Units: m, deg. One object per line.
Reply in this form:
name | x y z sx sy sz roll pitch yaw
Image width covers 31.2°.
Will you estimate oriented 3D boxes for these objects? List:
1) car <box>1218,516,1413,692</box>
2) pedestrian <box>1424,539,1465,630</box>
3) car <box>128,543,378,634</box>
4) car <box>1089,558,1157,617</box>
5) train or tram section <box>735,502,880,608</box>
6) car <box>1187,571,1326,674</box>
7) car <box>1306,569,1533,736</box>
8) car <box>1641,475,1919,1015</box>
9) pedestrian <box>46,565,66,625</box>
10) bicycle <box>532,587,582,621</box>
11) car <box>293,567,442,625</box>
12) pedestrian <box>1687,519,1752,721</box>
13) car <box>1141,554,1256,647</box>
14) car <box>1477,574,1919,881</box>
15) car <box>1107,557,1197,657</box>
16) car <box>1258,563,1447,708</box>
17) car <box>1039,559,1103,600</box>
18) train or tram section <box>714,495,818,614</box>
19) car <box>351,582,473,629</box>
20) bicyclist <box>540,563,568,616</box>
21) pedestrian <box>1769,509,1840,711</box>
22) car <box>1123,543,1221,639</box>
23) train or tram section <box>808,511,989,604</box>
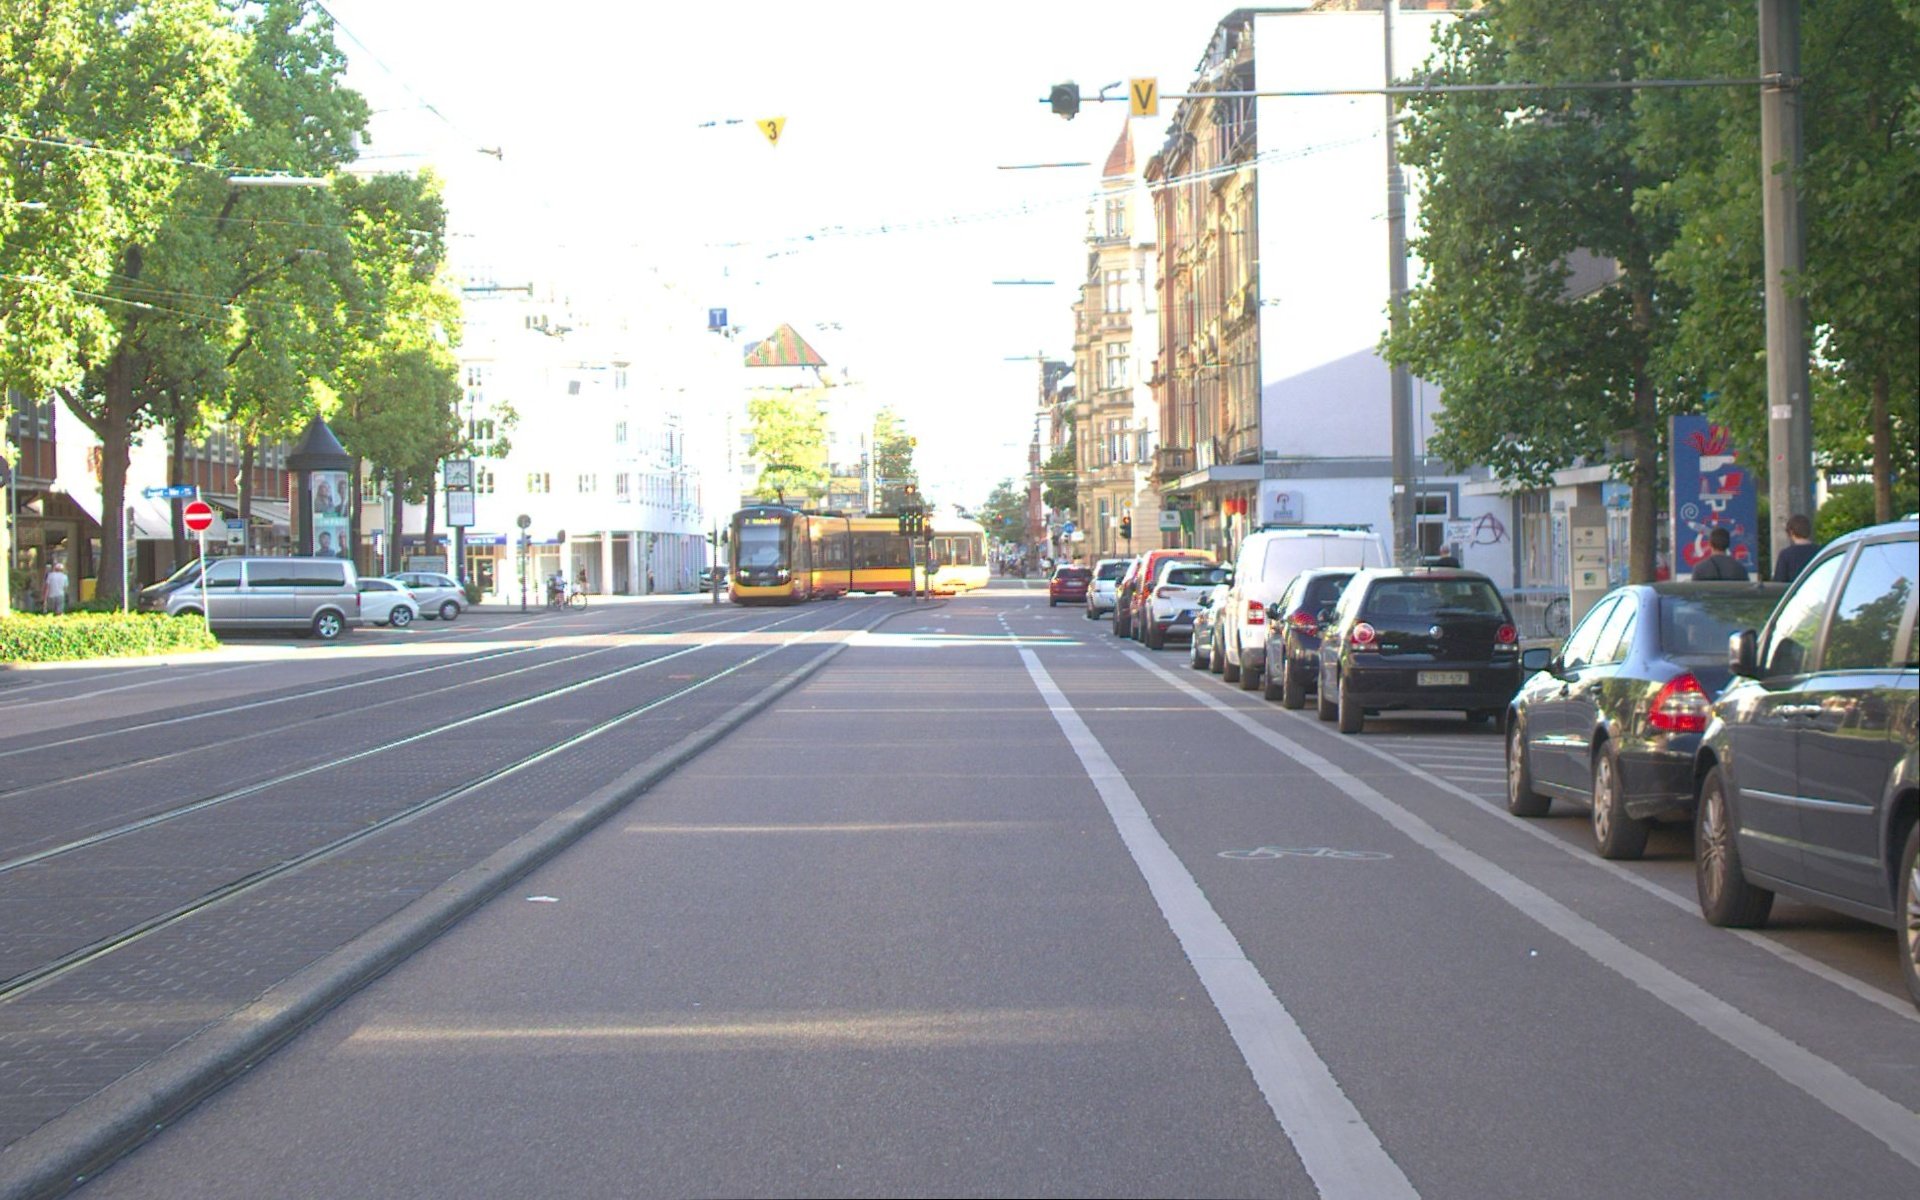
car | 4.373 0.017 42.919 1.971 2.007 4.558 -2 1 1
pedestrian | 9.178 -0.291 65.137 0.661 1.716 0.835 0 0 1
car | -16.684 -0.248 81.170 5.252 2.036 2.419 1 -1 -31
car | 4.467 -0.366 94.650 1.621 1.550 4.083 1 1 0
train or tram section | -5.863 -1.742 134.914 2.693 3.865 12.838 2 1 11
car | 4.200 0.295 49.184 1.621 1.366 3.931 1 1 0
car | 4.188 0.439 31.820 1.621 1.427 3.984 0 1 1
car | 4.122 0.470 13.036 1.949 1.782 5.182 1 1 -1
pedestrian | -20.456 -0.118 77.771 0.362 1.338 0.483 1 1 -20
bicycle | -15.325 0.149 130.753 2.025 1.235 0.699 2 1 42
car | -17.304 -0.112 100.463 3.868 1.622 1.876 1 1 -30
pedestrian | 6.610 0.173 29.918 0.426 1.704 0.453 -2 5 19
car | 4.240 -0.023 61.646 1.723 1.562 4.083 -2 1 0
car | 4.153 0.618 19.505 1.716 1.422 4.675 0 2 0
car | 3.994 0.112 72.009 1.621 2.000 3.831 1 1 0
car | 4.178 0.341 37.053 1.621 1.468 3.971 0 1 1
car | 3.887 -0.734 121.130 2.065 1.384 4.225 2 1 0
train or tram section | -6.831 -1.628 122.892 2.692 3.946 12.090 2 1 1
car | -17.646 0.180 110.764 3.519 1.476 1.582 1 1 -32
bicyclist | -15.453 -0.407 130.870 0.723 2.007 0.699 2 1 43
pedestrian | 7.301 0.085 29.724 0.498 1.704 0.453 -2 3 19
car | 4.145 -0.205 67.735 1.621 1.807 4.083 1 1 0
train or tram section | -2.489 -1.741 146.000 2.696 3.739 11.272 2 1 26
